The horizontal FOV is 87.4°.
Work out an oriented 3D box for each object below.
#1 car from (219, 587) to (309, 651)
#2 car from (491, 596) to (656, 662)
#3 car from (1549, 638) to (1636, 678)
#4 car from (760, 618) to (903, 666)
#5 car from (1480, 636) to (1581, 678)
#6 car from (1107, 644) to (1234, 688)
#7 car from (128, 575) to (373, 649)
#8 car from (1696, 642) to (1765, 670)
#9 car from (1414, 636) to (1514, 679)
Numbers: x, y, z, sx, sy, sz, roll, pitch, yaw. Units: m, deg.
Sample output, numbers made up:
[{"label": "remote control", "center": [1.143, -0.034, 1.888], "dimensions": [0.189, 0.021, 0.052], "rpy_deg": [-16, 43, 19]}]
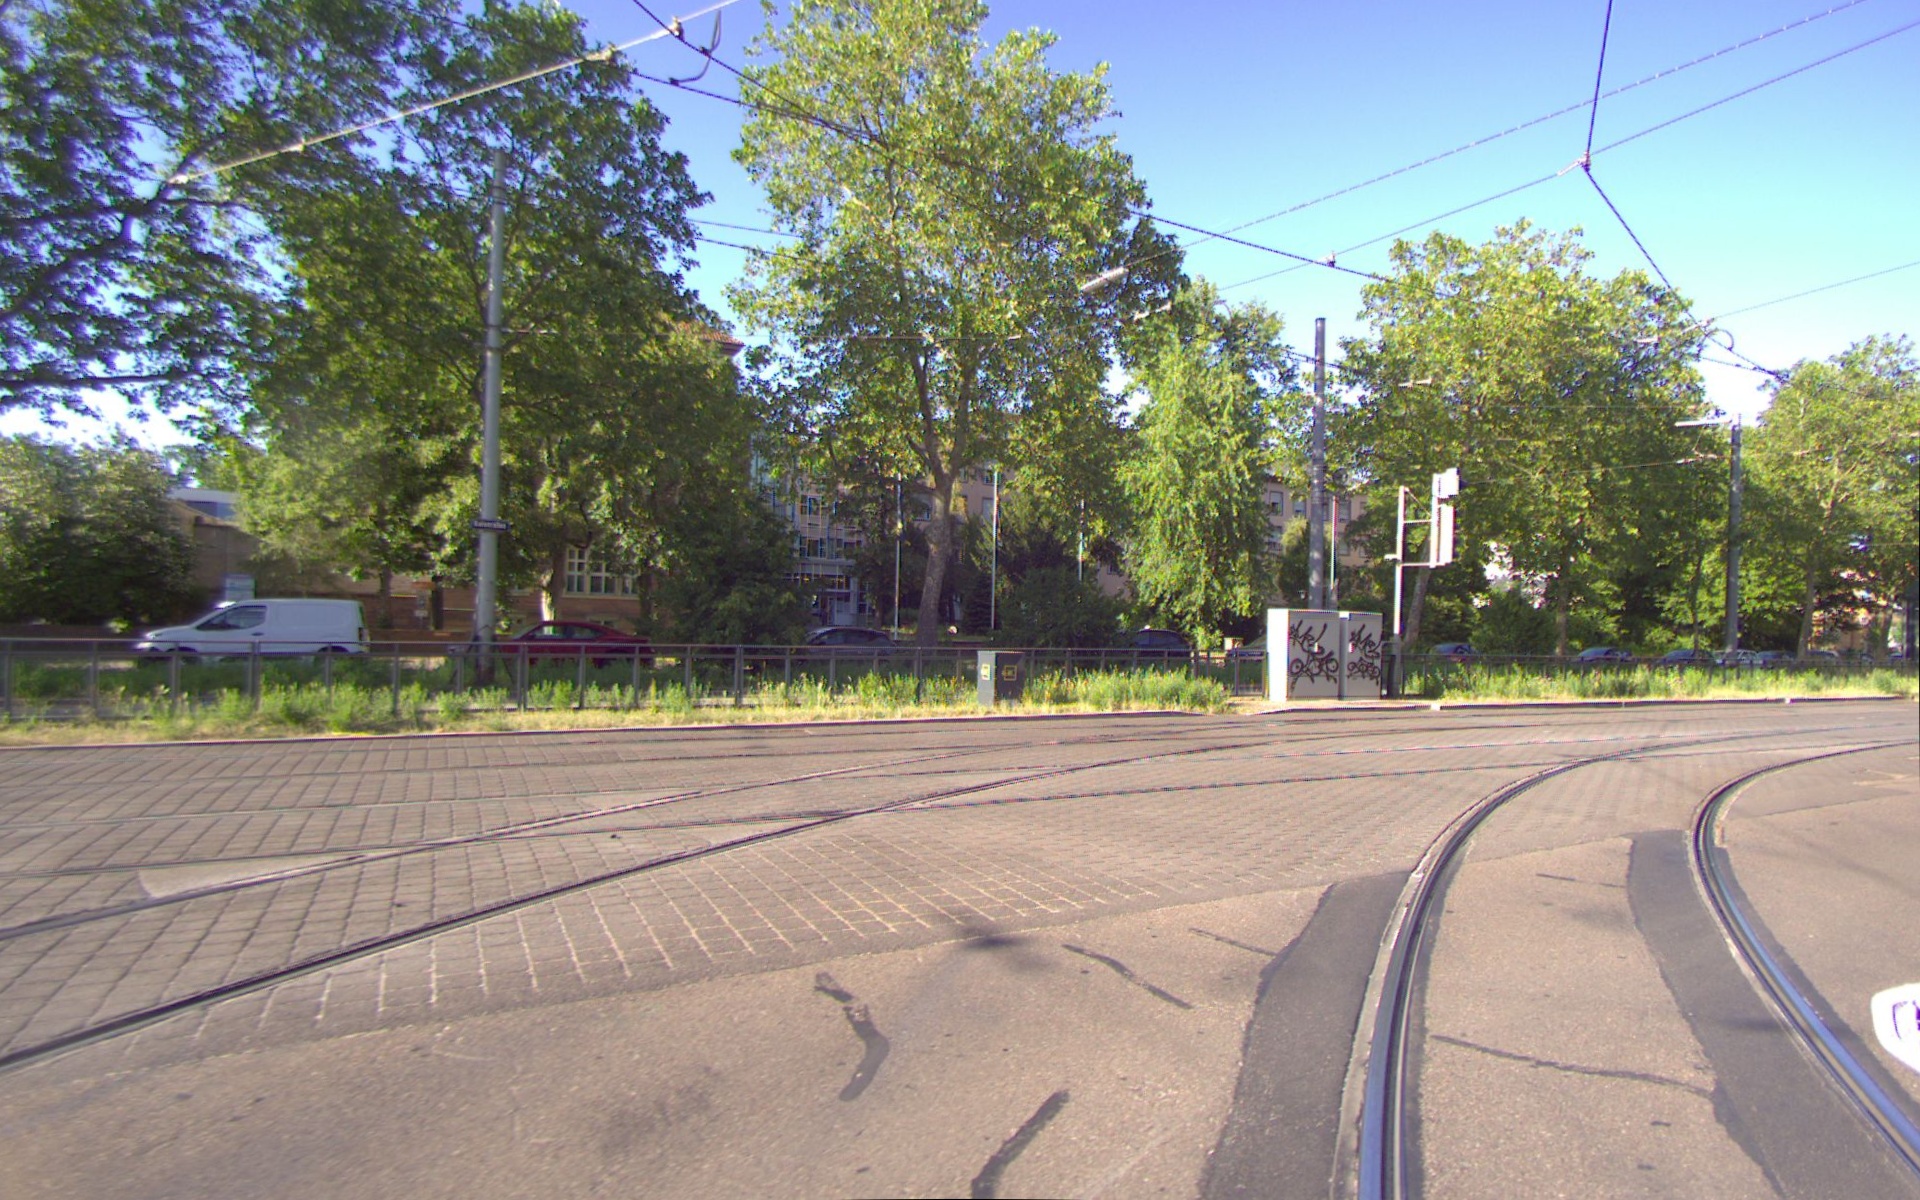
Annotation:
[{"label": "car", "center": [-21.931, 0.571, 31.794], "dimensions": [1.593, 1.841, 3.925], "rpy_deg": [2, -1, -24]}, {"label": "car", "center": [-9.812, 0.739, 25.568], "dimensions": [3.769, 1.491, 1.587], "rpy_deg": [2, 1, -25]}, {"label": "car", "center": [30.304, 2.757, 48.117], "dimensions": [3.952, 1.706, 1.813], "rpy_deg": [2, 1, -30]}, {"label": "car", "center": [-3.678, 1.196, 28.755], "dimensions": [3.716, 1.237, 1.614], "rpy_deg": [3, -1, -28]}, {"label": "car", "center": [25.910, 2.581, 45.599], "dimensions": [4.462, 1.706, 1.983], "rpy_deg": [2, 1, -31]}, {"label": "car", "center": [6.946, 2.175, 33.125], "dimensions": [3.975, 1.239, 1.588], "rpy_deg": [3, 1, -29]}, {"label": "car", "center": [-15.886, 0.286, 22.784], "dimensions": [4.291, 1.491, 1.734], "rpy_deg": [2, 1, -28]}, {"label": "car", "center": [40.931, 2.998, 53.342], "dimensions": [3.460, 1.329, 1.561], "rpy_deg": [2, 1, -28]}, {"label": "car", "center": [21.847, 2.461, 43.527], "dimensions": [3.954, 1.644, 1.983], "rpy_deg": [2, 1, -31]}]
